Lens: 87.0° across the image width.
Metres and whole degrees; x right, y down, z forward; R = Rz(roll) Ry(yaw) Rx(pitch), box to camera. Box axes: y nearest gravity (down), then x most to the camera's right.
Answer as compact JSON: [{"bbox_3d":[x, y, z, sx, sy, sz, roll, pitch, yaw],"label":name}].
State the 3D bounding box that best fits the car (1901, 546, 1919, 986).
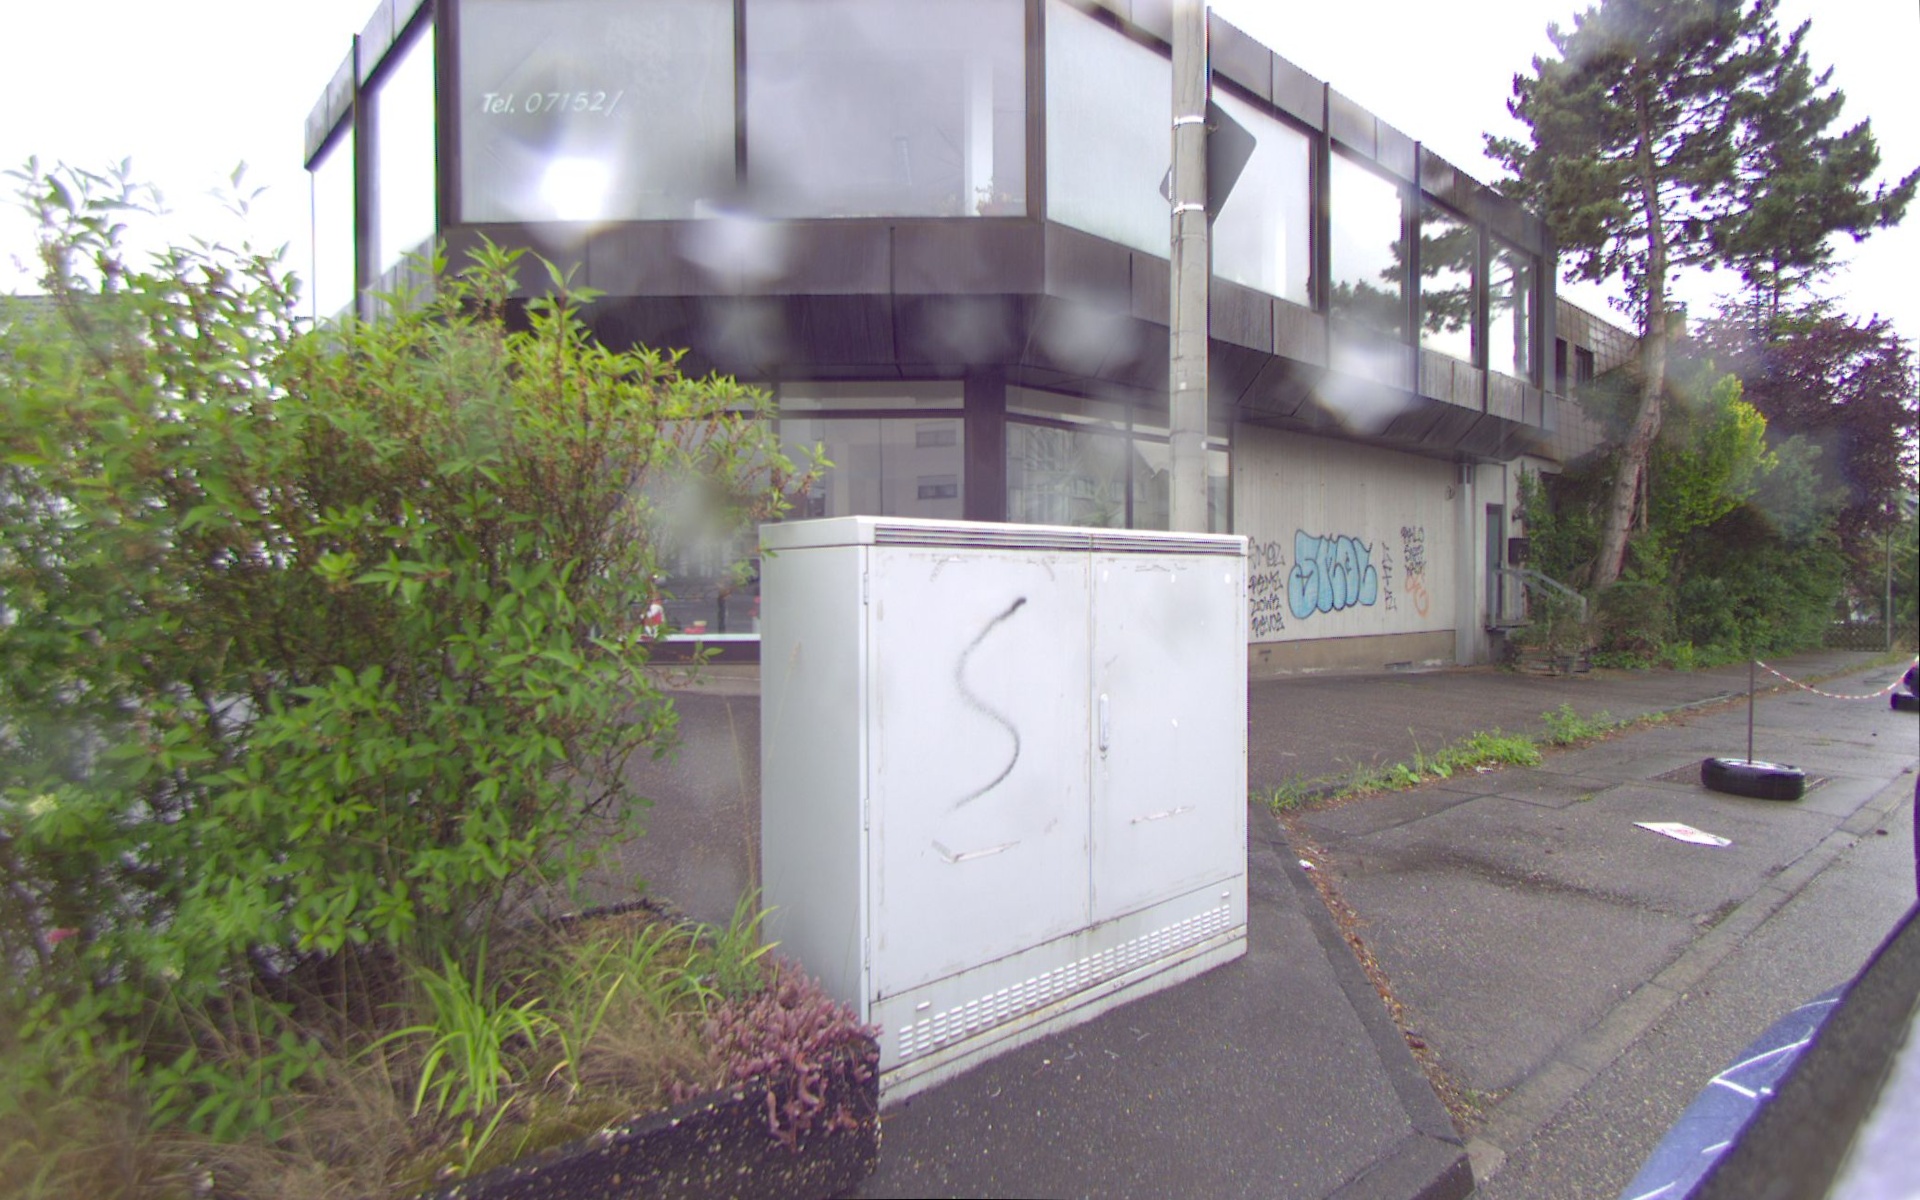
[{"bbox_3d":[5.677,0.584,4.459,4.595,1.562,1.753,-1,1,-41],"label":"car"}]
